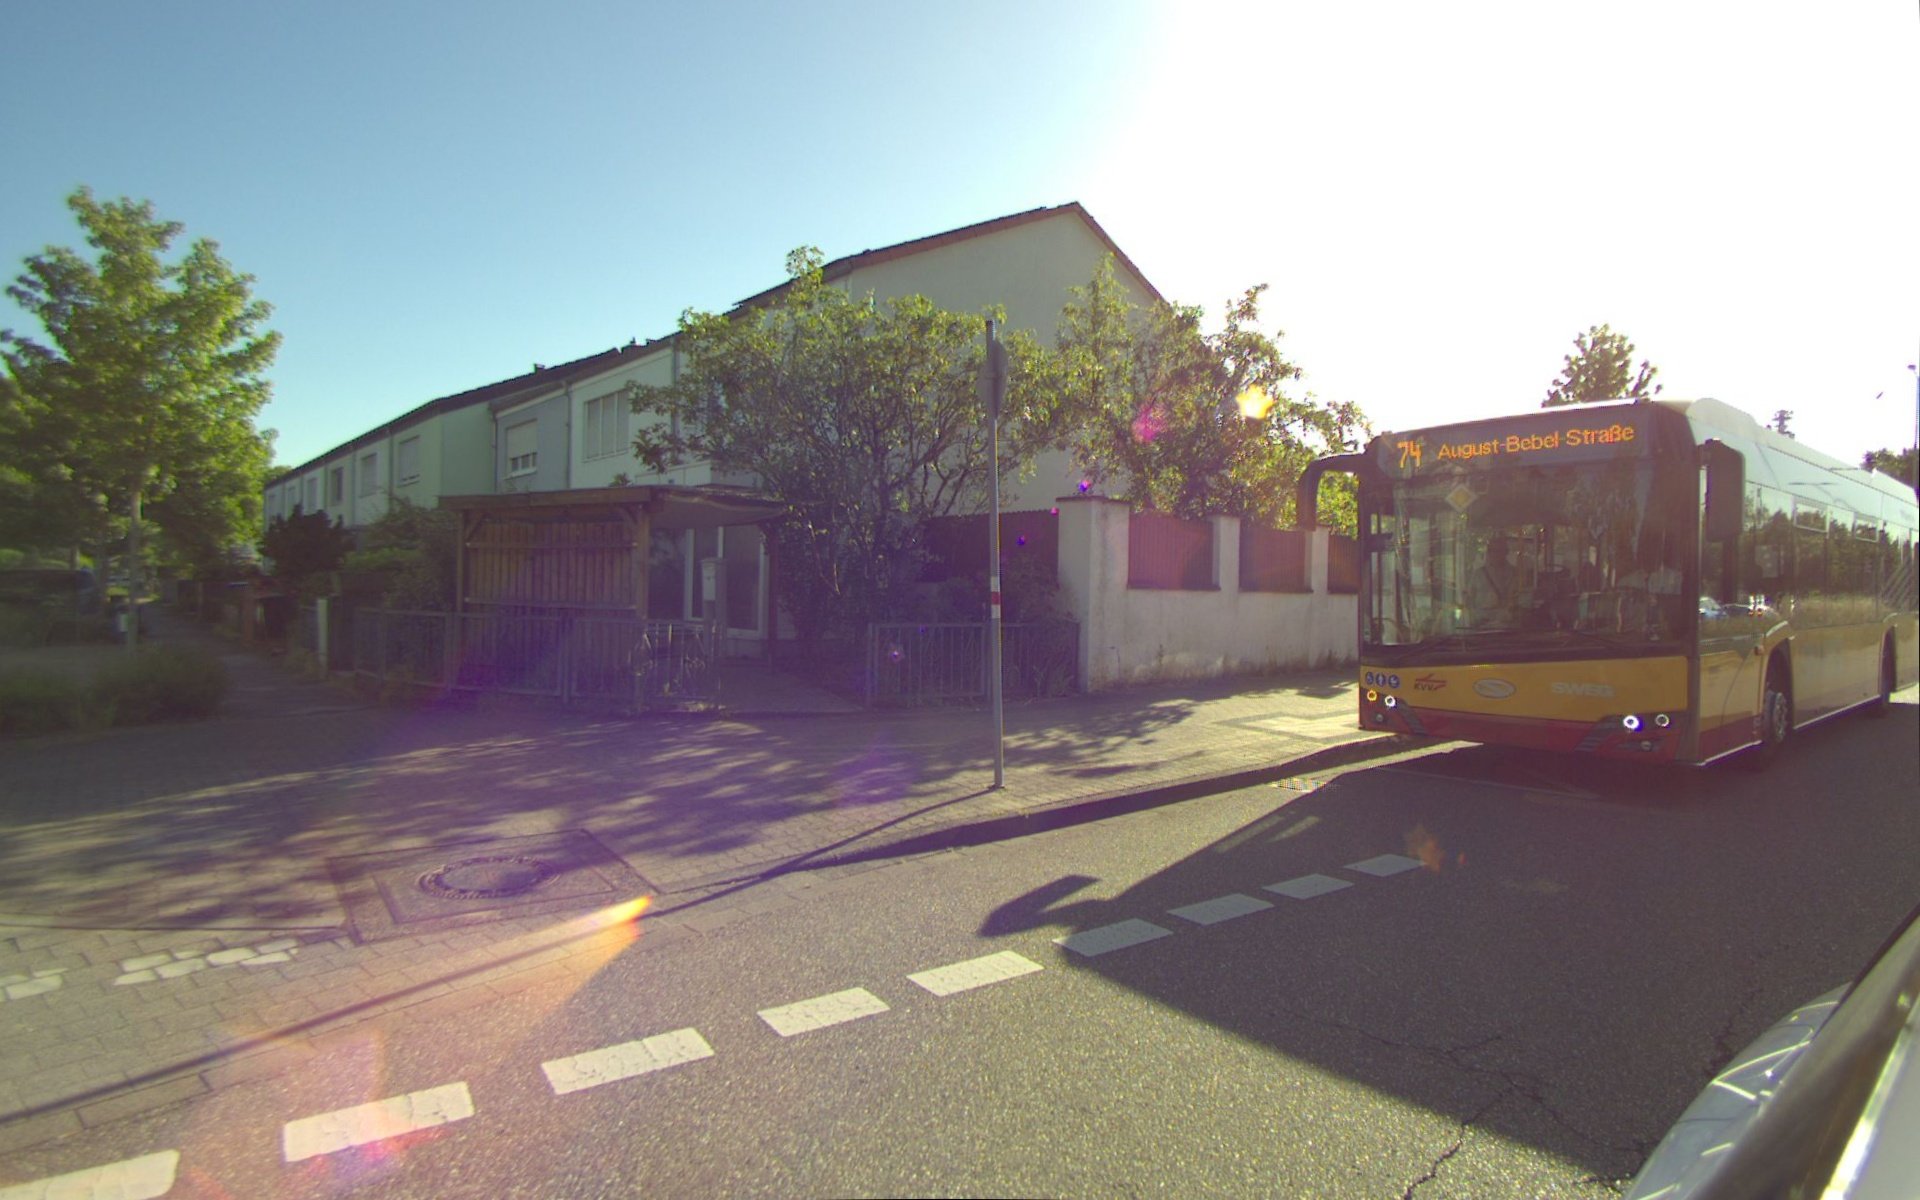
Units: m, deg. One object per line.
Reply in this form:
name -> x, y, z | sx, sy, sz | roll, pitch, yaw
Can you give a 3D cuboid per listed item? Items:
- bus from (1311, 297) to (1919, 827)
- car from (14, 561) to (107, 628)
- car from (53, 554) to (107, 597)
bus -> 8.689, -0.431, 11.587 | 12.175, 3.500, 2.765 | -2, 3, -39
car -> -25.960, -0.128, 29.248 | 1.856, 1.799, 3.915 | 1, -1, -42
car -> -42.106, -1.118, 48.435 | 1.856, 1.906, 3.915 | 1, -1, -42
